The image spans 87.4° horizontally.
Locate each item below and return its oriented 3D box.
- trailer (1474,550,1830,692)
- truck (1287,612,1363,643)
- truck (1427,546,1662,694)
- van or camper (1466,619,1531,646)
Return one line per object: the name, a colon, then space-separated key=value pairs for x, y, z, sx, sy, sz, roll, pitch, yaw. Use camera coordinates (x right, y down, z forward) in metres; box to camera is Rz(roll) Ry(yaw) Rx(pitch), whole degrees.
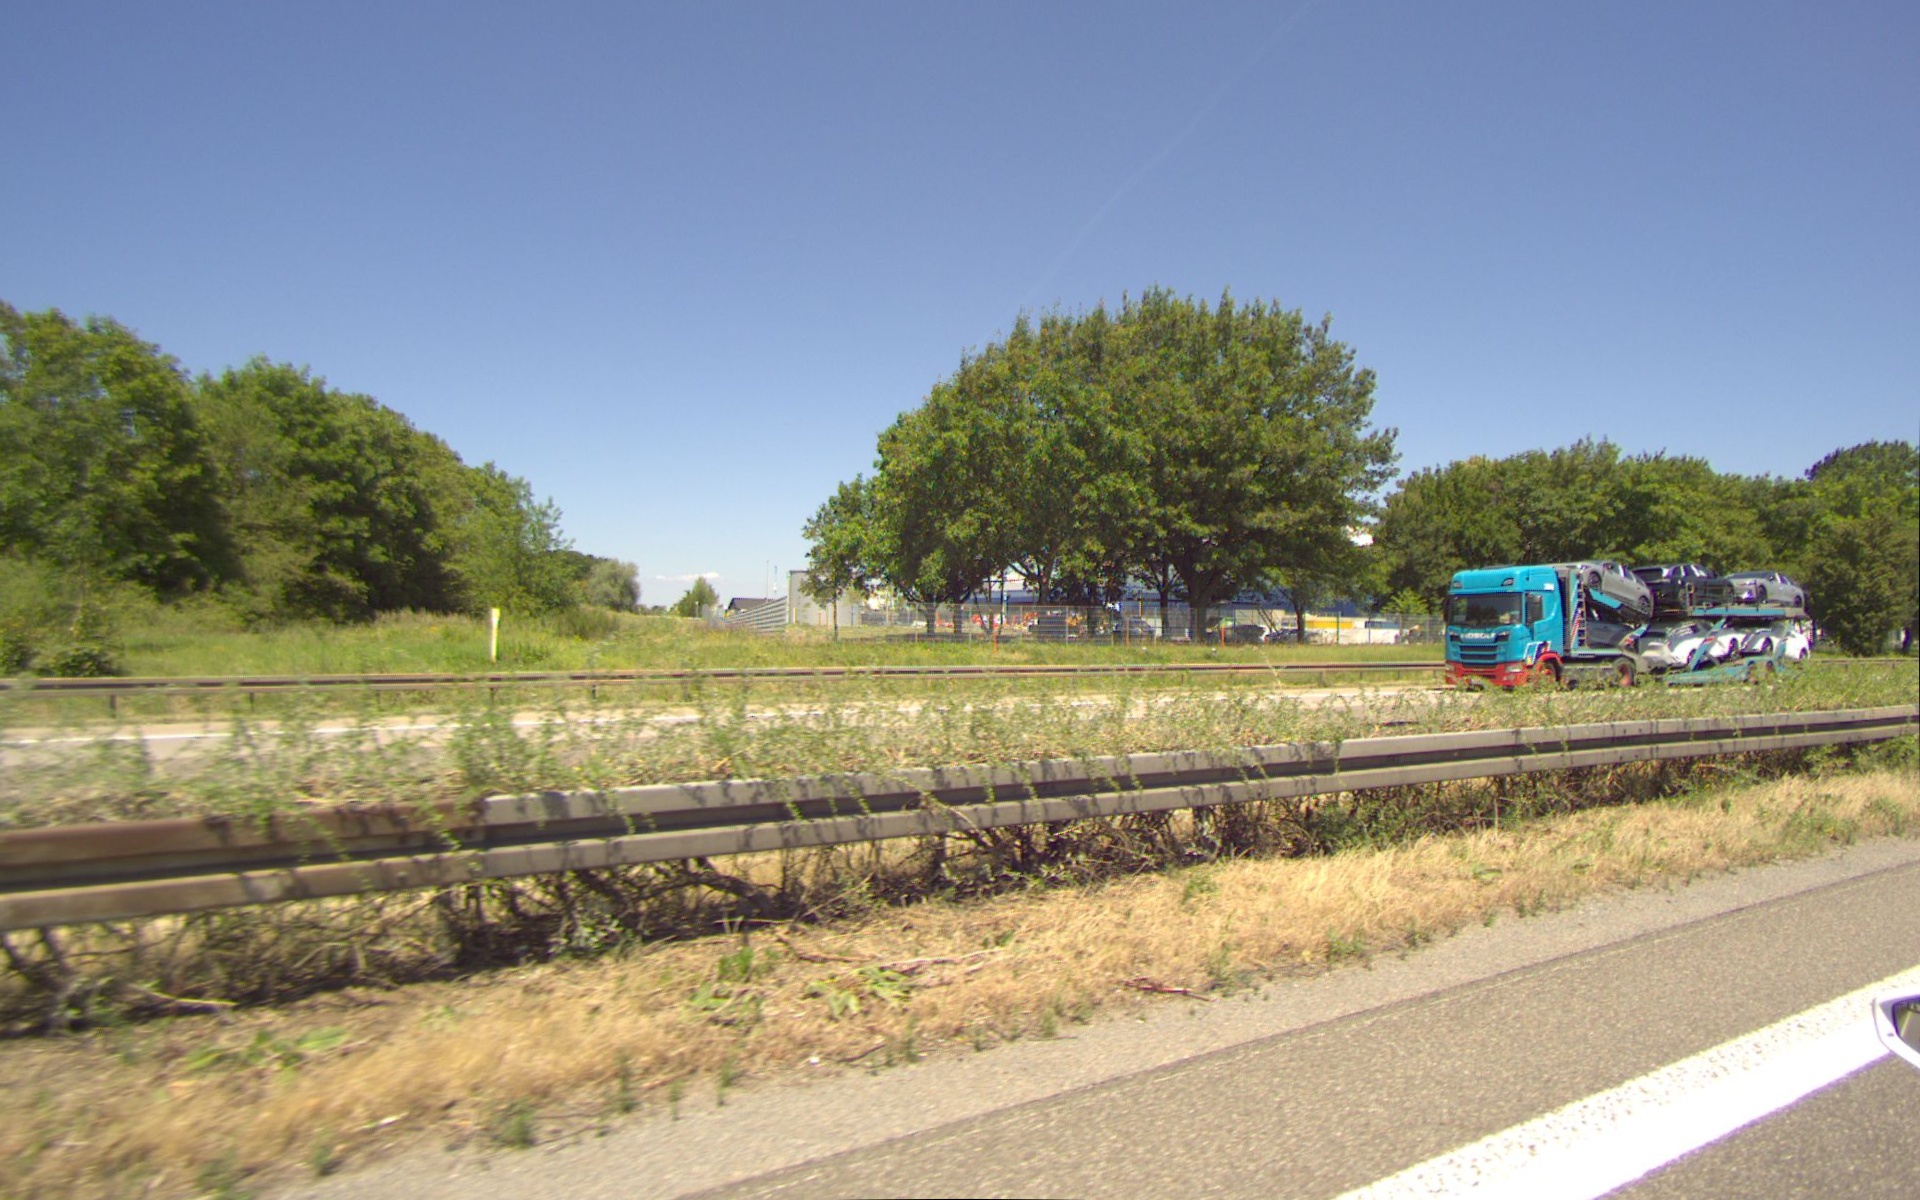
trailer: x=24.079 y=0.882 z=34.169 sx=17.270 sy=4.030 sz=2.866 roll=2 pitch=-4 yaw=-30
truck: x=40.776 y=3.112 z=112.076 sx=8.195 sy=3.233 sz=3.535 roll=1 pitch=-2 yaw=-29
truck: x=17.817 y=0.715 z=30.525 sx=7.286 sy=4.027 sz=2.866 roll=2 pitch=-4 yaw=-30
van or camper: x=55.359 y=3.361 z=103.286 sx=7.637 sy=2.586 sz=2.345 roll=2 pitch=-2 yaw=-31
